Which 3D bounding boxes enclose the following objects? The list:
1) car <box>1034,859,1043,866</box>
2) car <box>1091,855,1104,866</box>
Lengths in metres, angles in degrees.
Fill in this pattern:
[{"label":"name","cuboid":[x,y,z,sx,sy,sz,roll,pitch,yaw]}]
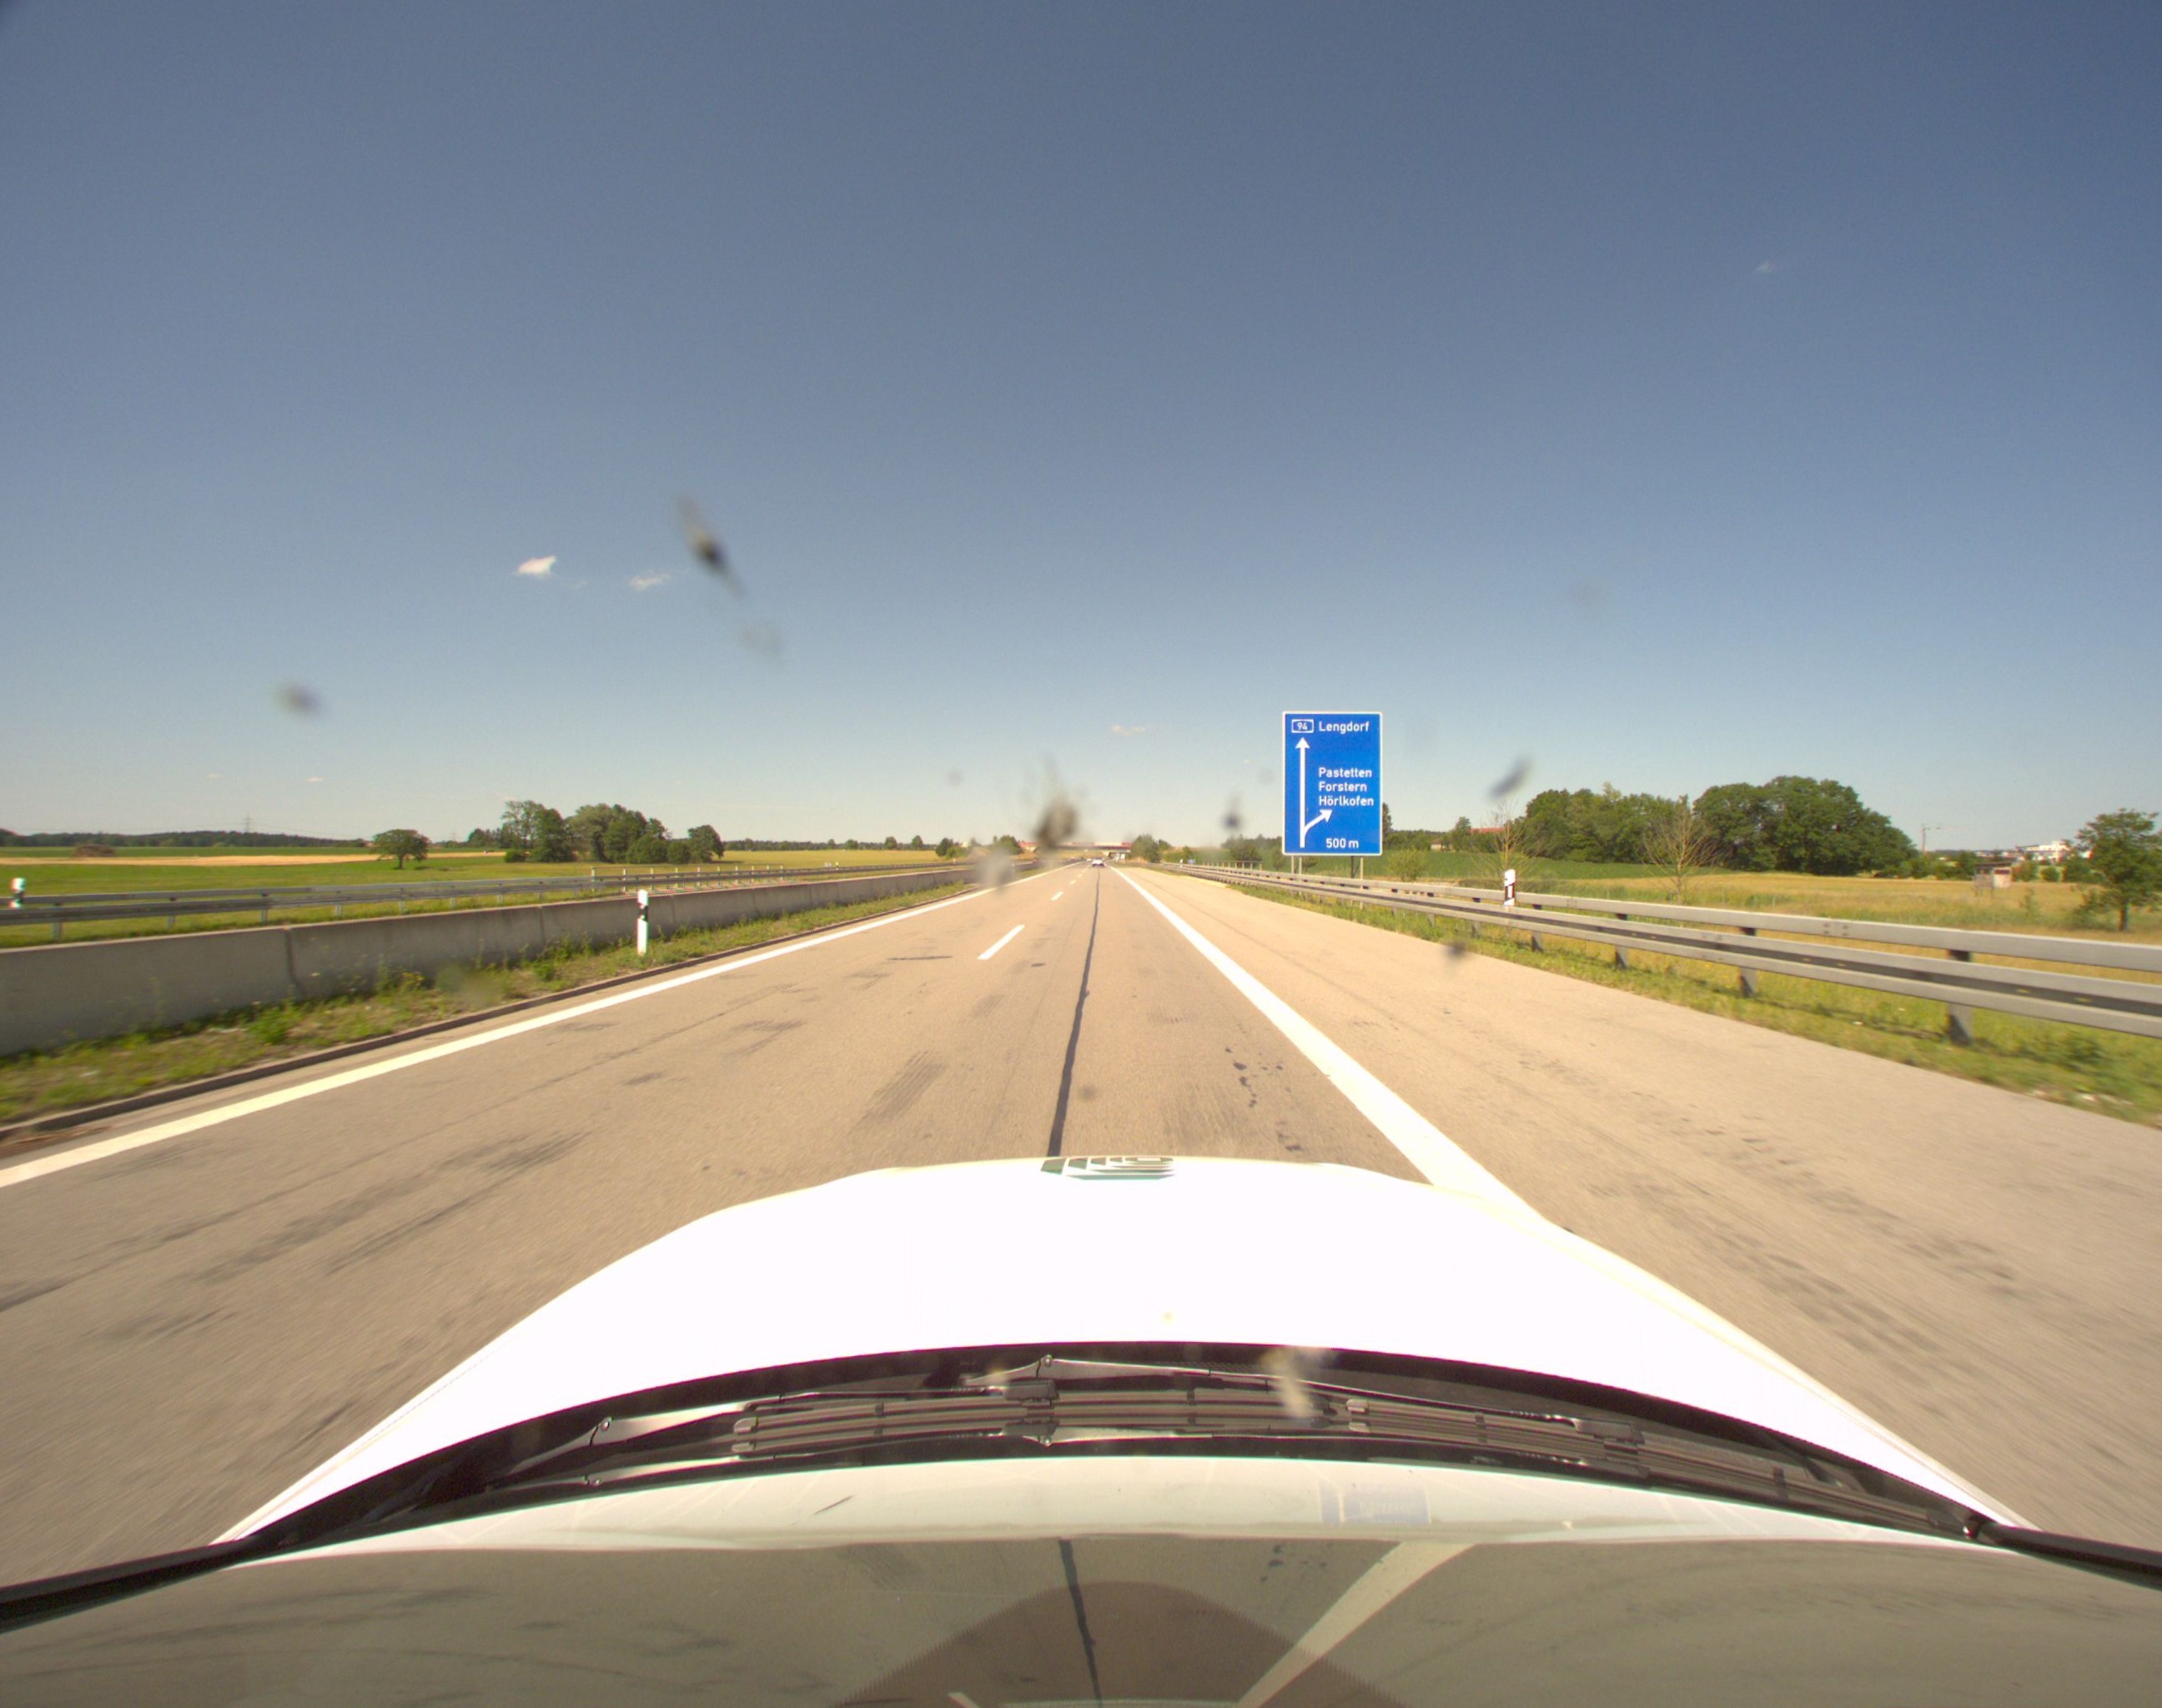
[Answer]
[{"label":"car","cuboid":[-9.973,1.945,191.242,1.891,1.523,4.806,-2,-1,1]},{"label":"car","cuboid":[2.629,1.077,130.101,1.987,1.731,4.867,0,-1,-1]}]
